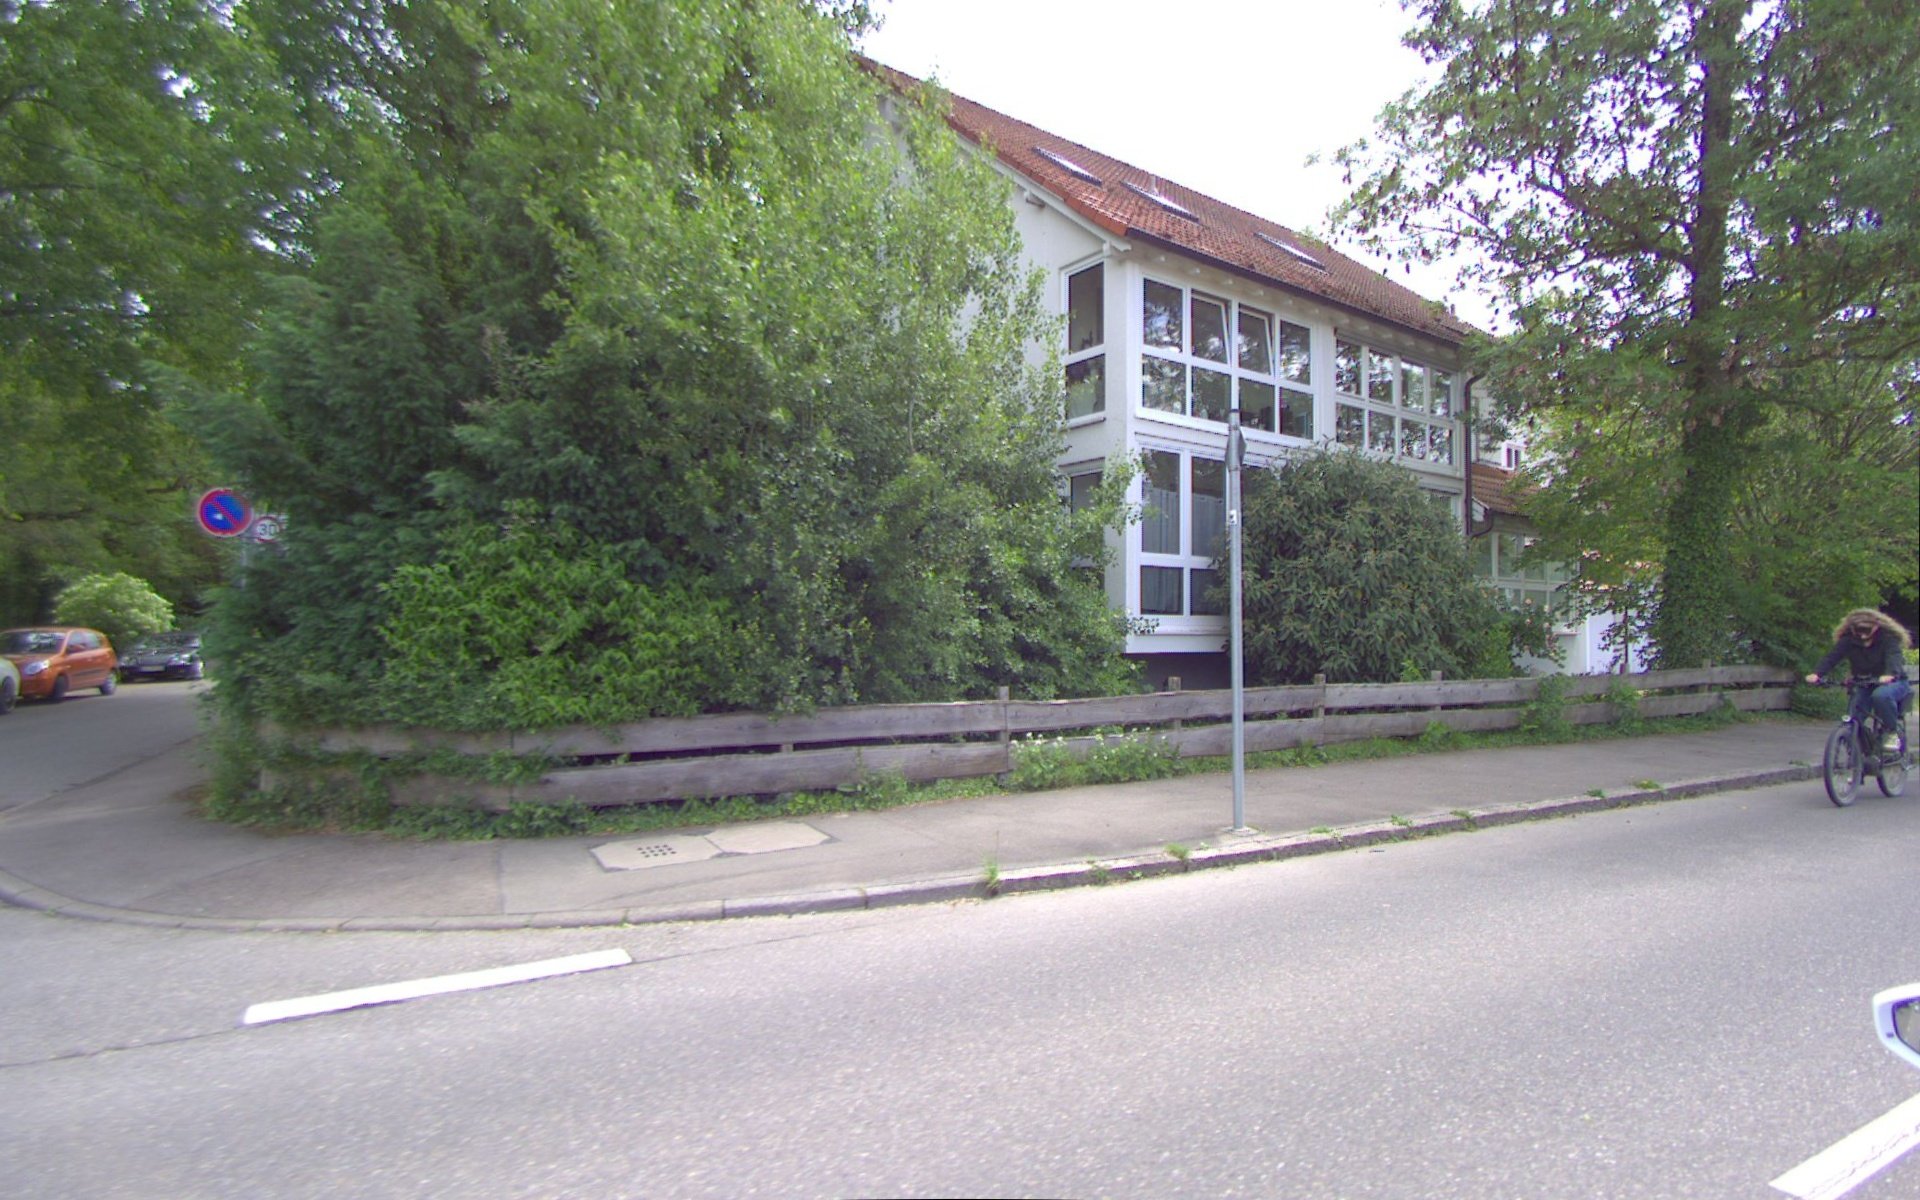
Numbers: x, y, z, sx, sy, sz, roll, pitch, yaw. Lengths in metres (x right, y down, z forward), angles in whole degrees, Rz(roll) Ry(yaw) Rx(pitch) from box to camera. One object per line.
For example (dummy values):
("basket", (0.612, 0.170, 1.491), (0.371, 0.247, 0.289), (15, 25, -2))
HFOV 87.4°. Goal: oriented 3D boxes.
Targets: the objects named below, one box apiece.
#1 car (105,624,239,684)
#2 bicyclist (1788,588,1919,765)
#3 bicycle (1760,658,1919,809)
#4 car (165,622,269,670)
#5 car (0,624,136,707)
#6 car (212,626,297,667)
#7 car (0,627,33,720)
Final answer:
("car", (-22.013, 1.460, 28.258), (1.928, 1.499, 3.979), (1, -1, -22))
("bicyclist", (8.455, 0.693, 9.442), (0.859, 1.569, 0.775), (1, -2, -30))
("bicycle", (8.521, 1.185, 9.450), (2.281, 1.242, 0.752), (1, -3, -30))
("car", (-25.635, 1.555, 34.810), (1.928, 1.499, 3.979), (1, -1, -22))
("car", (-18.979, 1.288, 20.799), (1.929, 1.499, 3.976), (1, -1, -24))
("car", (-28.040, 1.811, 40.068), (1.928, 1.499, 3.979), (1, -1, -22))
("car", (-16.551, 1.201, 15.869), (1.818, 1.537, 3.971), (1, -2, -28))
